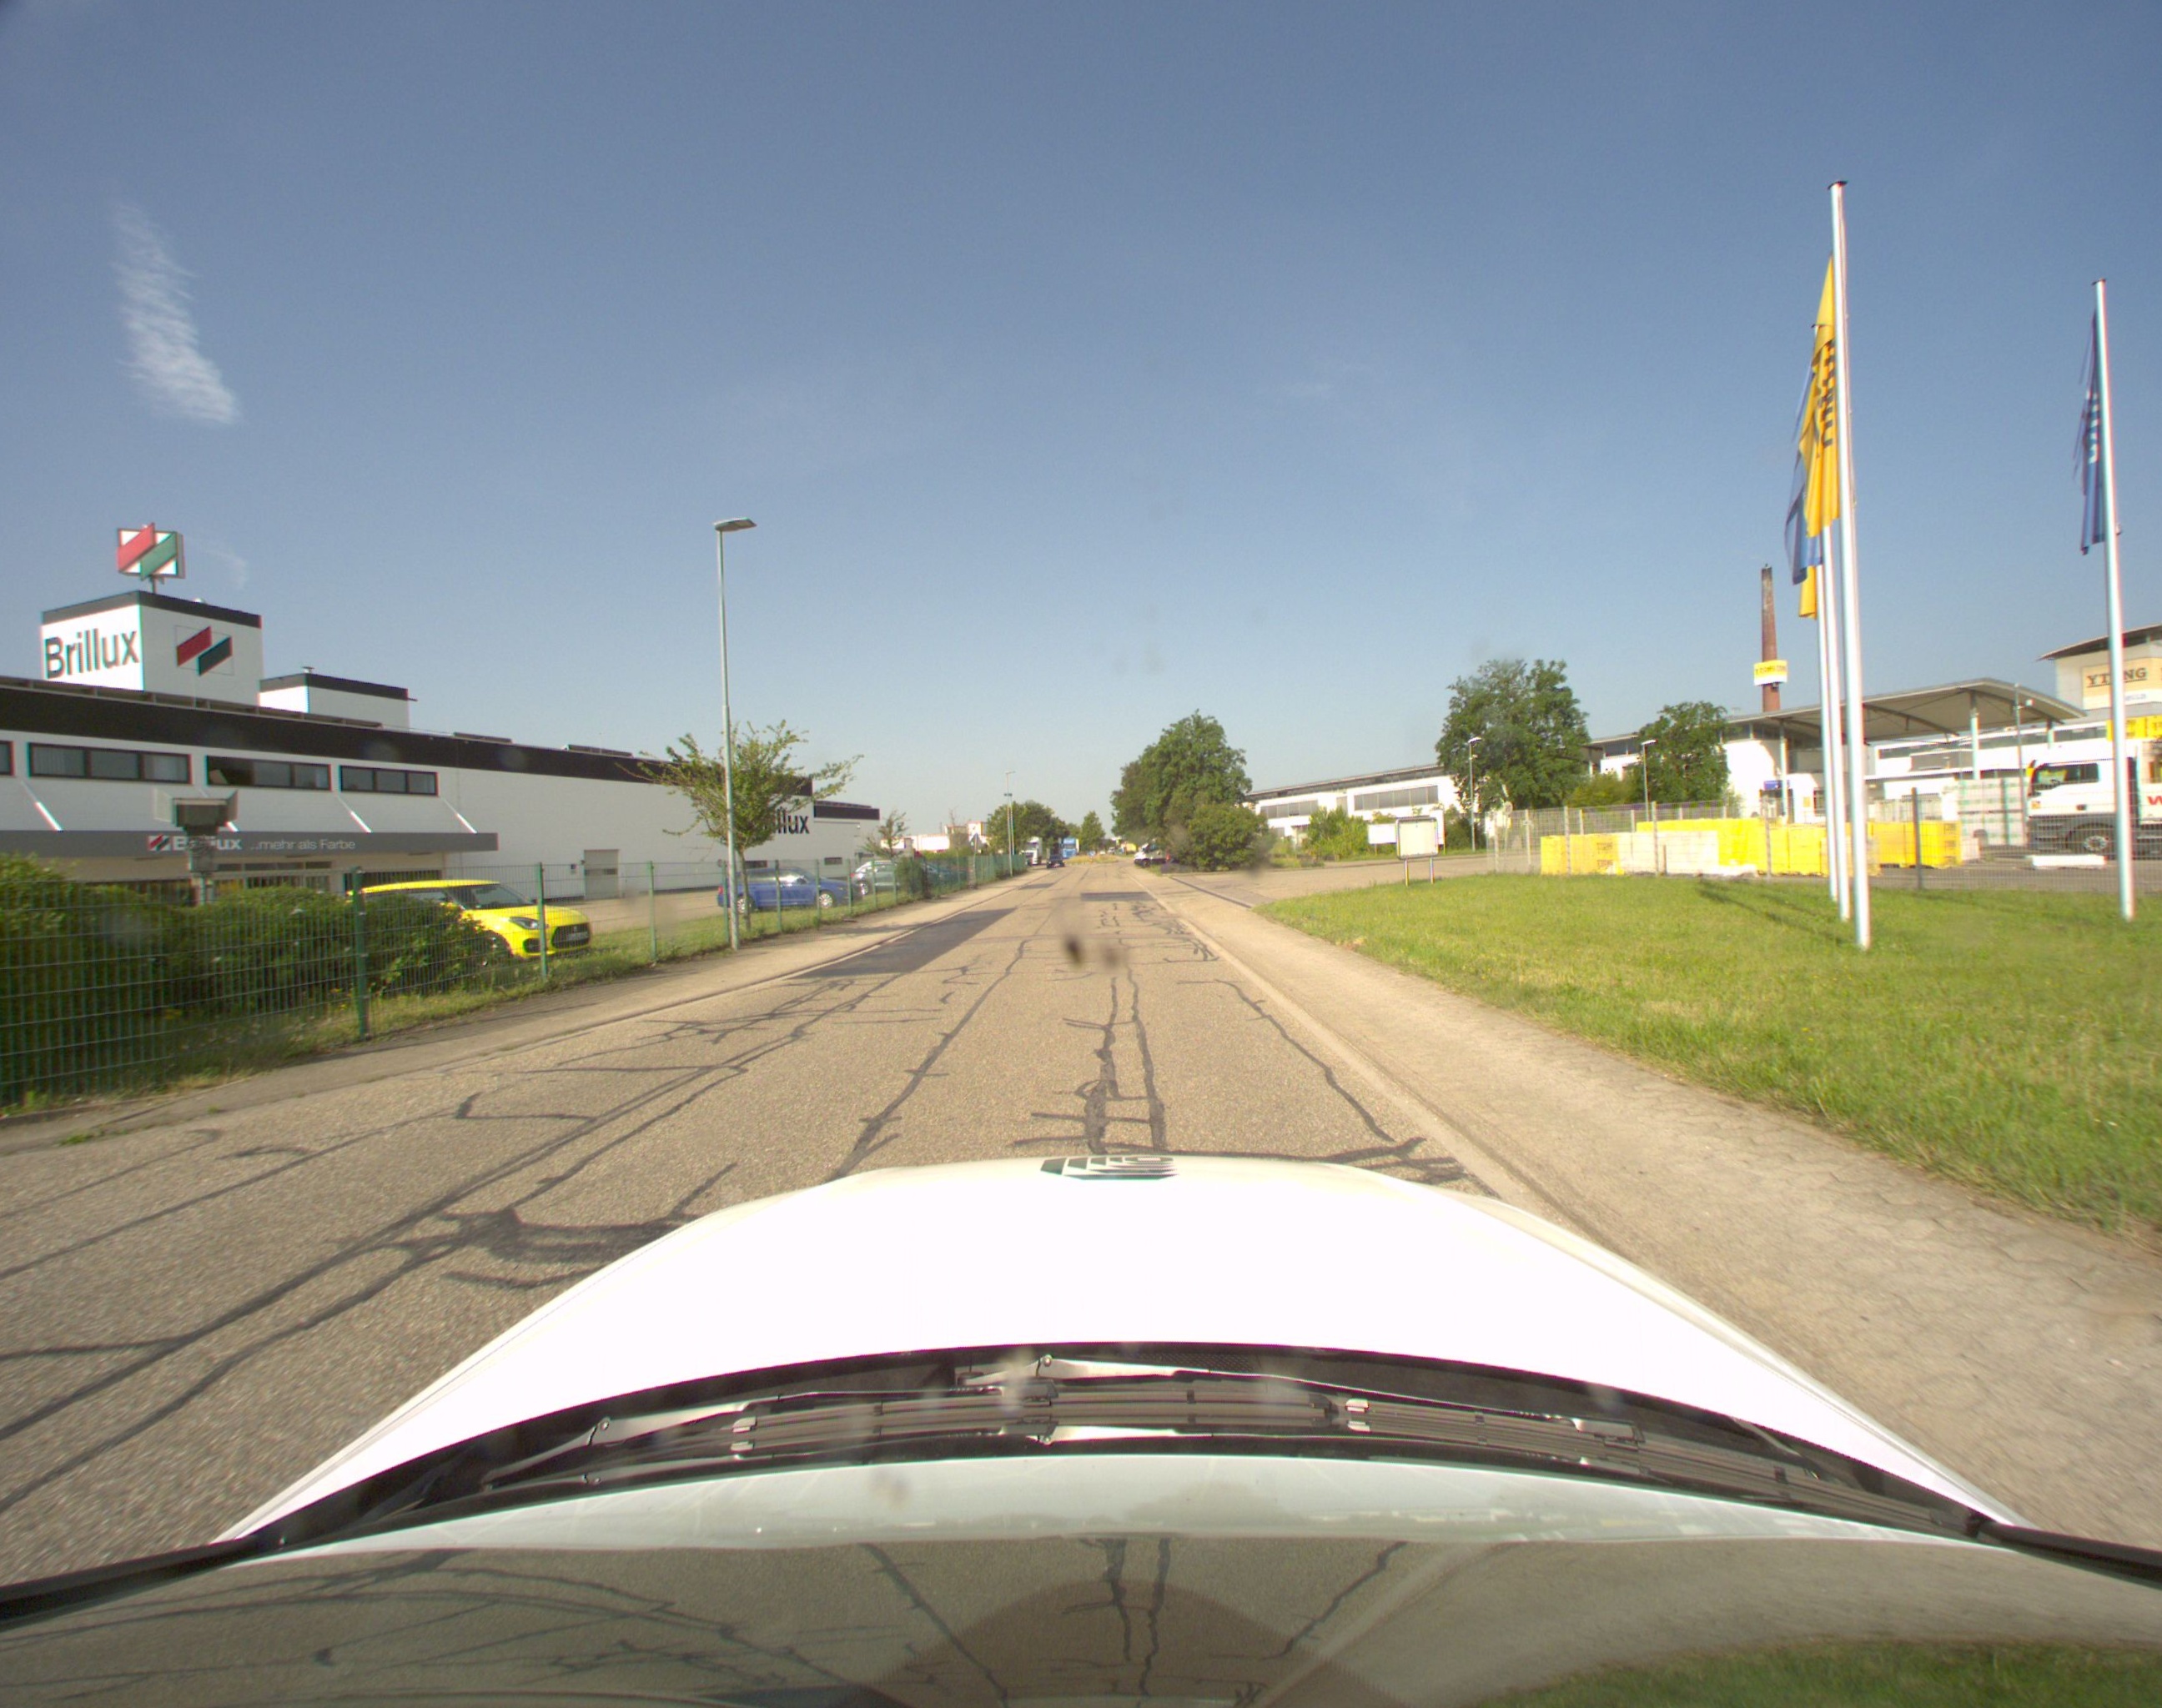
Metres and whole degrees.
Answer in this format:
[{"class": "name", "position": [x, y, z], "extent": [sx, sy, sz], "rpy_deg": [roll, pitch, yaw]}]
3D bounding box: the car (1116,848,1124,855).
[{"class": "car", "position": [9.378, -0.555, 195.318], "extent": [1.786, 1.750, 4.000], "rpy_deg": [-1, -1, 1]}]

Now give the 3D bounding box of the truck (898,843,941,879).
[{"class": "truck", "position": [-18.717, 0.838, 94.547], "extent": [2.493, 4.071, 5.567], "rpy_deg": [-1, -1, 16]}]

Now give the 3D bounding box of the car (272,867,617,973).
[{"class": "car", "position": [-10.275, 1.034, 13.381], "extent": [4.148, 1.368, 1.869], "rpy_deg": [-3, 0, 2]}]

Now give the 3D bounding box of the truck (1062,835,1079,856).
[{"class": "truck", "position": [-1.971, -1.579, 154.678], "extent": [2.815, 3.826, 9.674], "rpy_deg": [-1, -1, 1]}]

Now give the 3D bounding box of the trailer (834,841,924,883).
[{"class": "trailer", "position": [-21.134, 0.815, 86.621], "extent": [2.462, 4.041, 13.950], "rpy_deg": [-1, -1, 17]}]

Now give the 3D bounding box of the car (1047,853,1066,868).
[{"class": "car", "position": [-2.722, 0.740, 91.501], "extent": [1.987, 1.449, 4.419], "rpy_deg": [-5, 0, 0]}]

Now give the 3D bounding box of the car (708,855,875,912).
[{"class": "car", "position": [-9.485, 0.954, 26.973], "extent": [4.670, 1.444, 2.078], "rpy_deg": [-4, 0, 0]}]

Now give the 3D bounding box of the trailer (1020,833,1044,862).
[{"class": "trailer", "position": [-6.840, -0.798, 114.544], "extent": [2.690, 3.922, 7.575], "rpy_deg": [-1, -1, 1]}]

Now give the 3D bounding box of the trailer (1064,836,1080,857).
[{"class": "trailer", "position": [-1.803, -1.470, 164.508], "extent": [2.821, 3.843, 12.038], "rpy_deg": [-1, -1, 1]}]

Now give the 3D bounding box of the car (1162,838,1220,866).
[{"class": "car", "position": [8.063, -0.147, 59.808], "extent": [3.971, 1.837, 2.001], "rpy_deg": [-3, 0, 2]}]

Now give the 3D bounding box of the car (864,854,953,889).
[{"class": "car", "position": [-8.825, 0.890, 41.947], "extent": [4.027, 1.444, 1.874], "rpy_deg": [-4, 0, 0]}]

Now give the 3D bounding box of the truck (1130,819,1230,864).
[{"class": "truck", "position": [8.516, -1.033, 70.448], "extent": [8.182, 3.370, 2.741], "rpy_deg": [-3, -1, 0]}]

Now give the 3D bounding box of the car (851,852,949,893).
[{"class": "car", "position": [-8.509, 0.858, 38.513], "extent": [4.113, 1.567, 1.865], "rpy_deg": [-4, 0, 0]}]

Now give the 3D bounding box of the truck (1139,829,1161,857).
[{"class": "truck", "position": [10.405, -1.688, 123.714], "extent": [2.736, 3.981, 4.002], "rpy_deg": [-5, 0, 1]}]

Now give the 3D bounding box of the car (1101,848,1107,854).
[{"class": "car", "position": [7.090, -0.911, 248.653], "extent": [1.713, 1.660, 3.822], "rpy_deg": [-1, -1, 0]}]

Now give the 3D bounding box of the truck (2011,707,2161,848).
[{"class": "truck", "position": [31.084, -2.169, 24.124], "extent": [2.546, 3.876, 3.972], "rpy_deg": [-1, -1, -21]}]

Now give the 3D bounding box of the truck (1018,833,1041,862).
[{"class": "truck", "position": [-6.924, -0.843, 110.249], "extent": [2.699, 3.922, 4.297], "rpy_deg": [-1, -1, 1]}]
